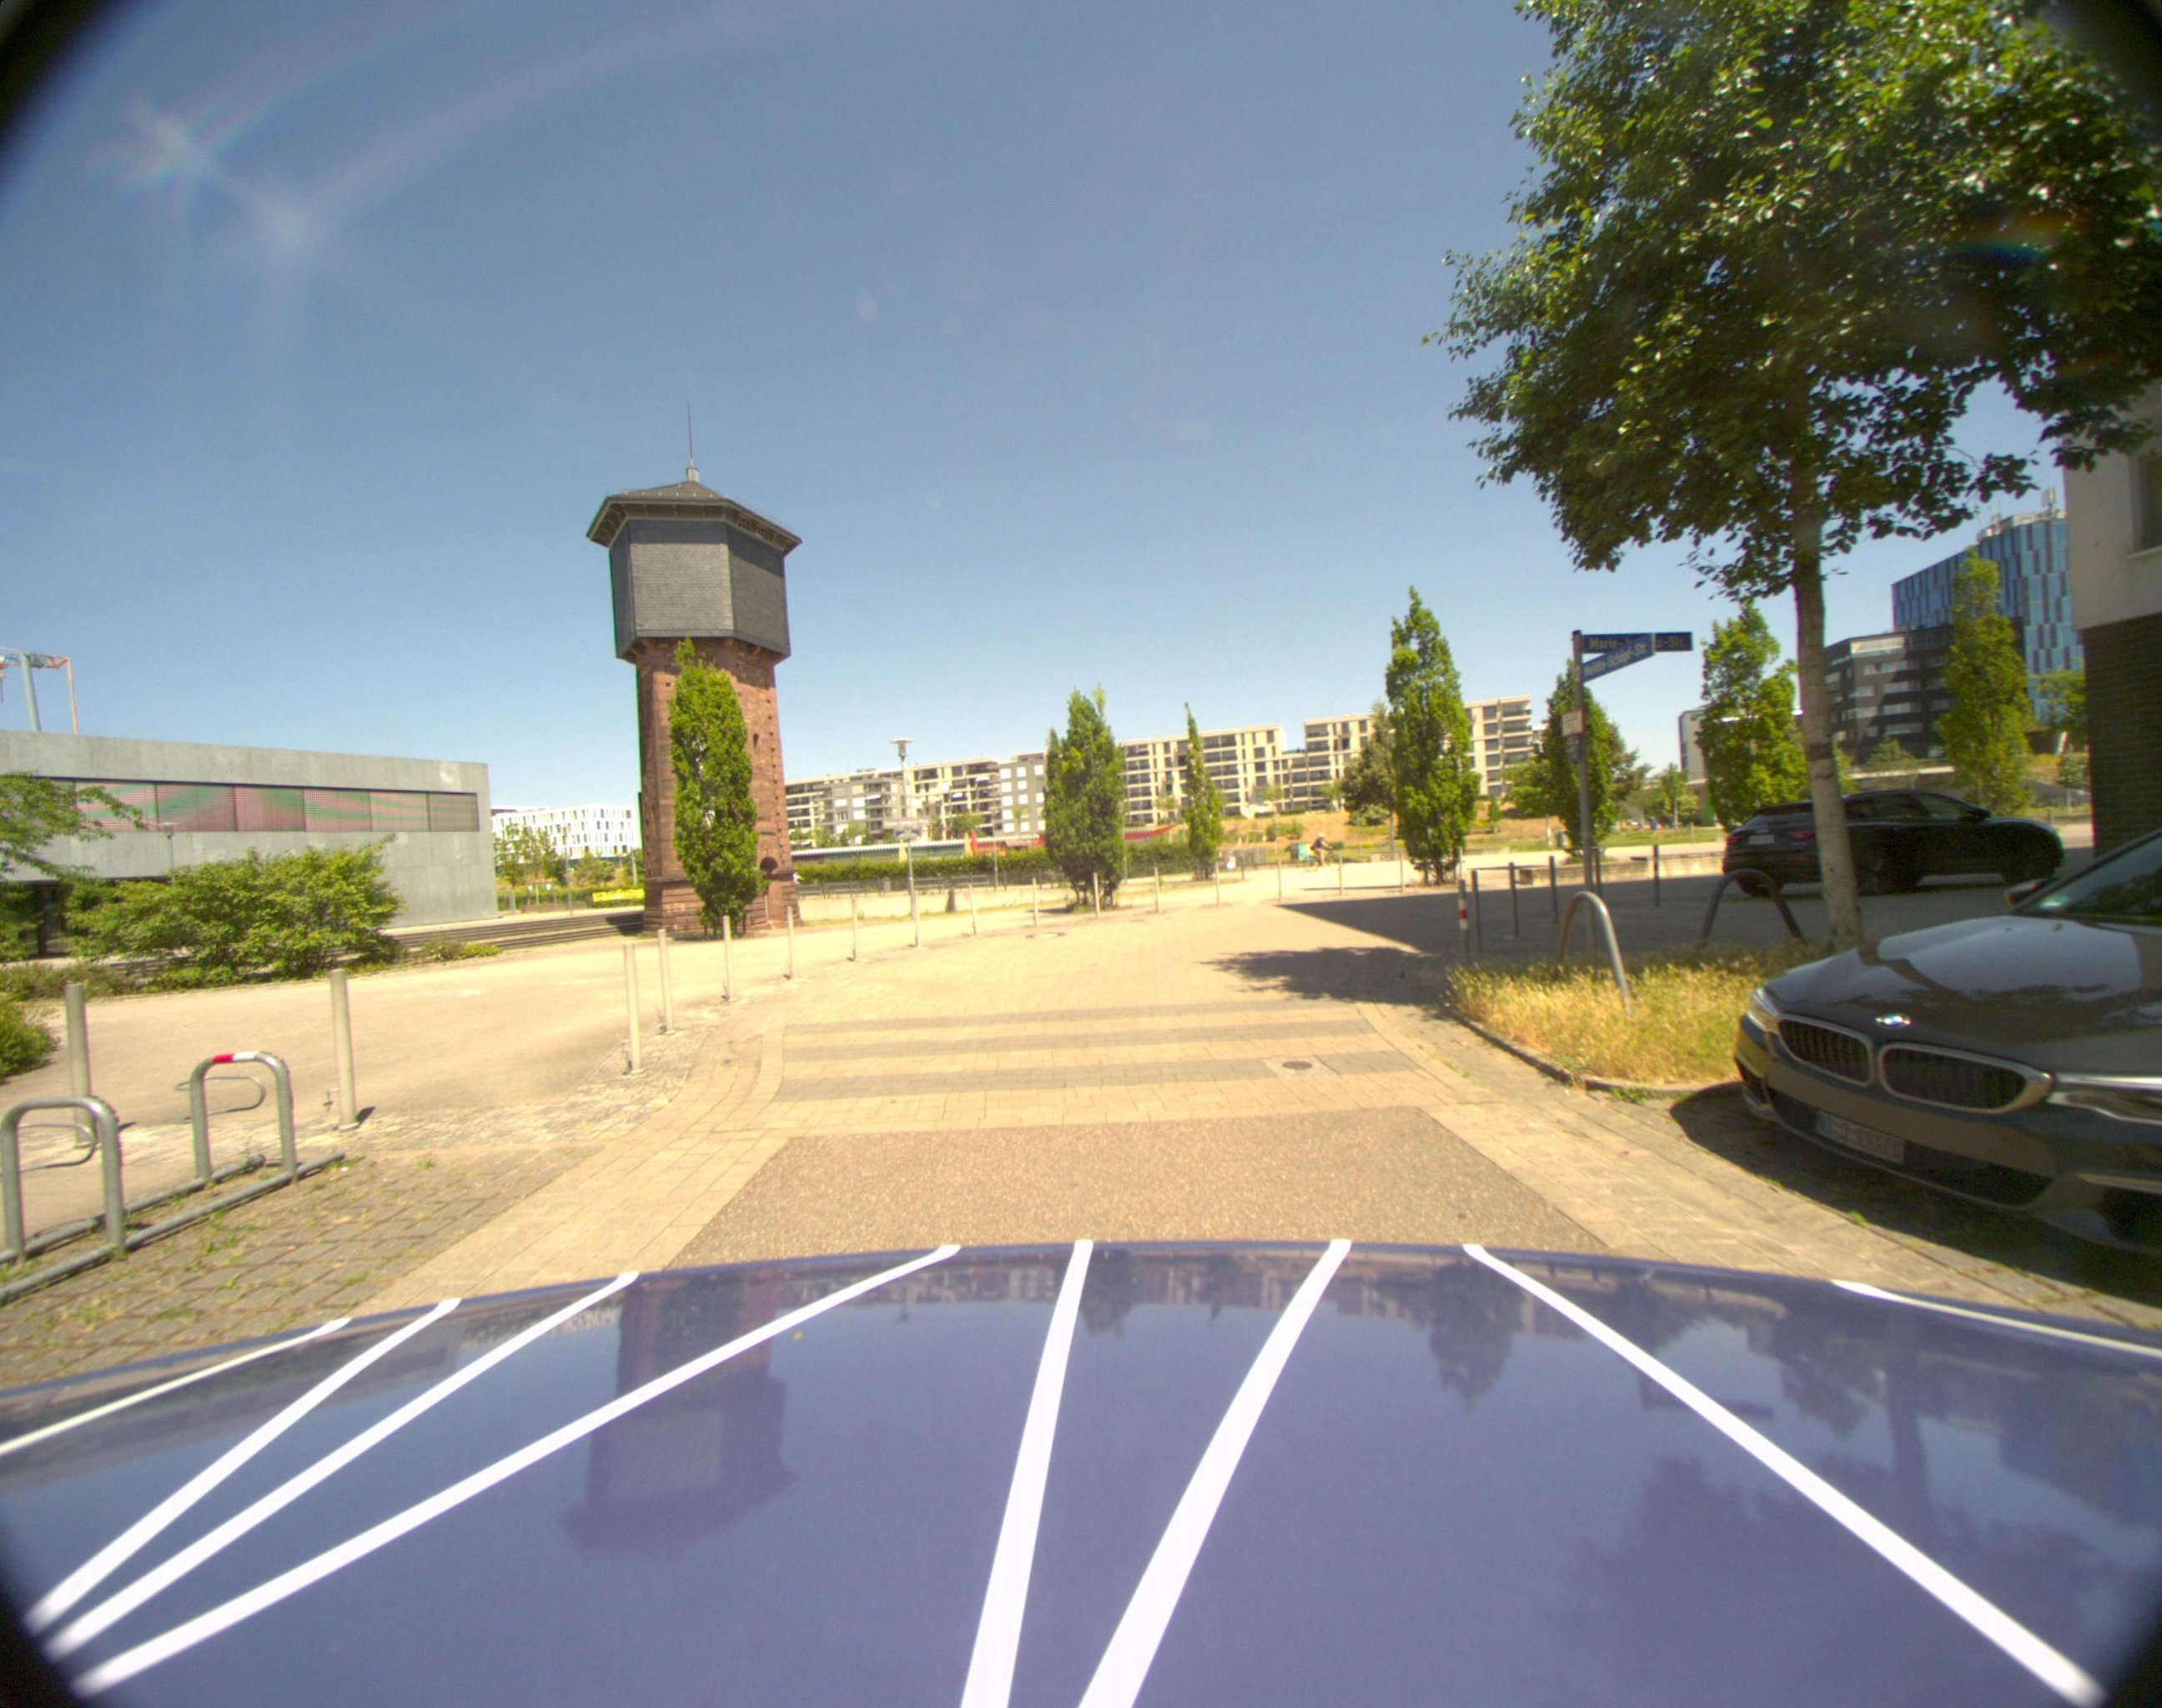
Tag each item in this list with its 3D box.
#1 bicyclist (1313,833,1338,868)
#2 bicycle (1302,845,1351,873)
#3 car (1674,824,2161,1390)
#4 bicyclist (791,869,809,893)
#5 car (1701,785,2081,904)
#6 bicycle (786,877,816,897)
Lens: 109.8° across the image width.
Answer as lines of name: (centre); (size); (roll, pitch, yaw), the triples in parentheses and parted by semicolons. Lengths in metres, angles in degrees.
bicyclist: (10.789, -0.158, 33.483); (0.881, 1.447, 0.861); (-4, 0, 24)
bicycle: (10.819, 0.215, 33.486); (1.910, 1.111, 0.800); (-4, 0, 24)
car: (5.504, 0.601, 2.866); (5.113, 1.476, 1.927); (-4, 1, -3)
bicyclist: (-17.743, 1.715, 47.924); (0.659, 1.426, 0.735); (-4, 1, 32)
car: (12.668, -0.125, 12.029); (4.396, 1.510, 1.779); (-3, -1, -7)
bicycle: (-17.660, 2.079, 47.892); (1.937, 1.192, 0.592); (-4, 0, 32)
